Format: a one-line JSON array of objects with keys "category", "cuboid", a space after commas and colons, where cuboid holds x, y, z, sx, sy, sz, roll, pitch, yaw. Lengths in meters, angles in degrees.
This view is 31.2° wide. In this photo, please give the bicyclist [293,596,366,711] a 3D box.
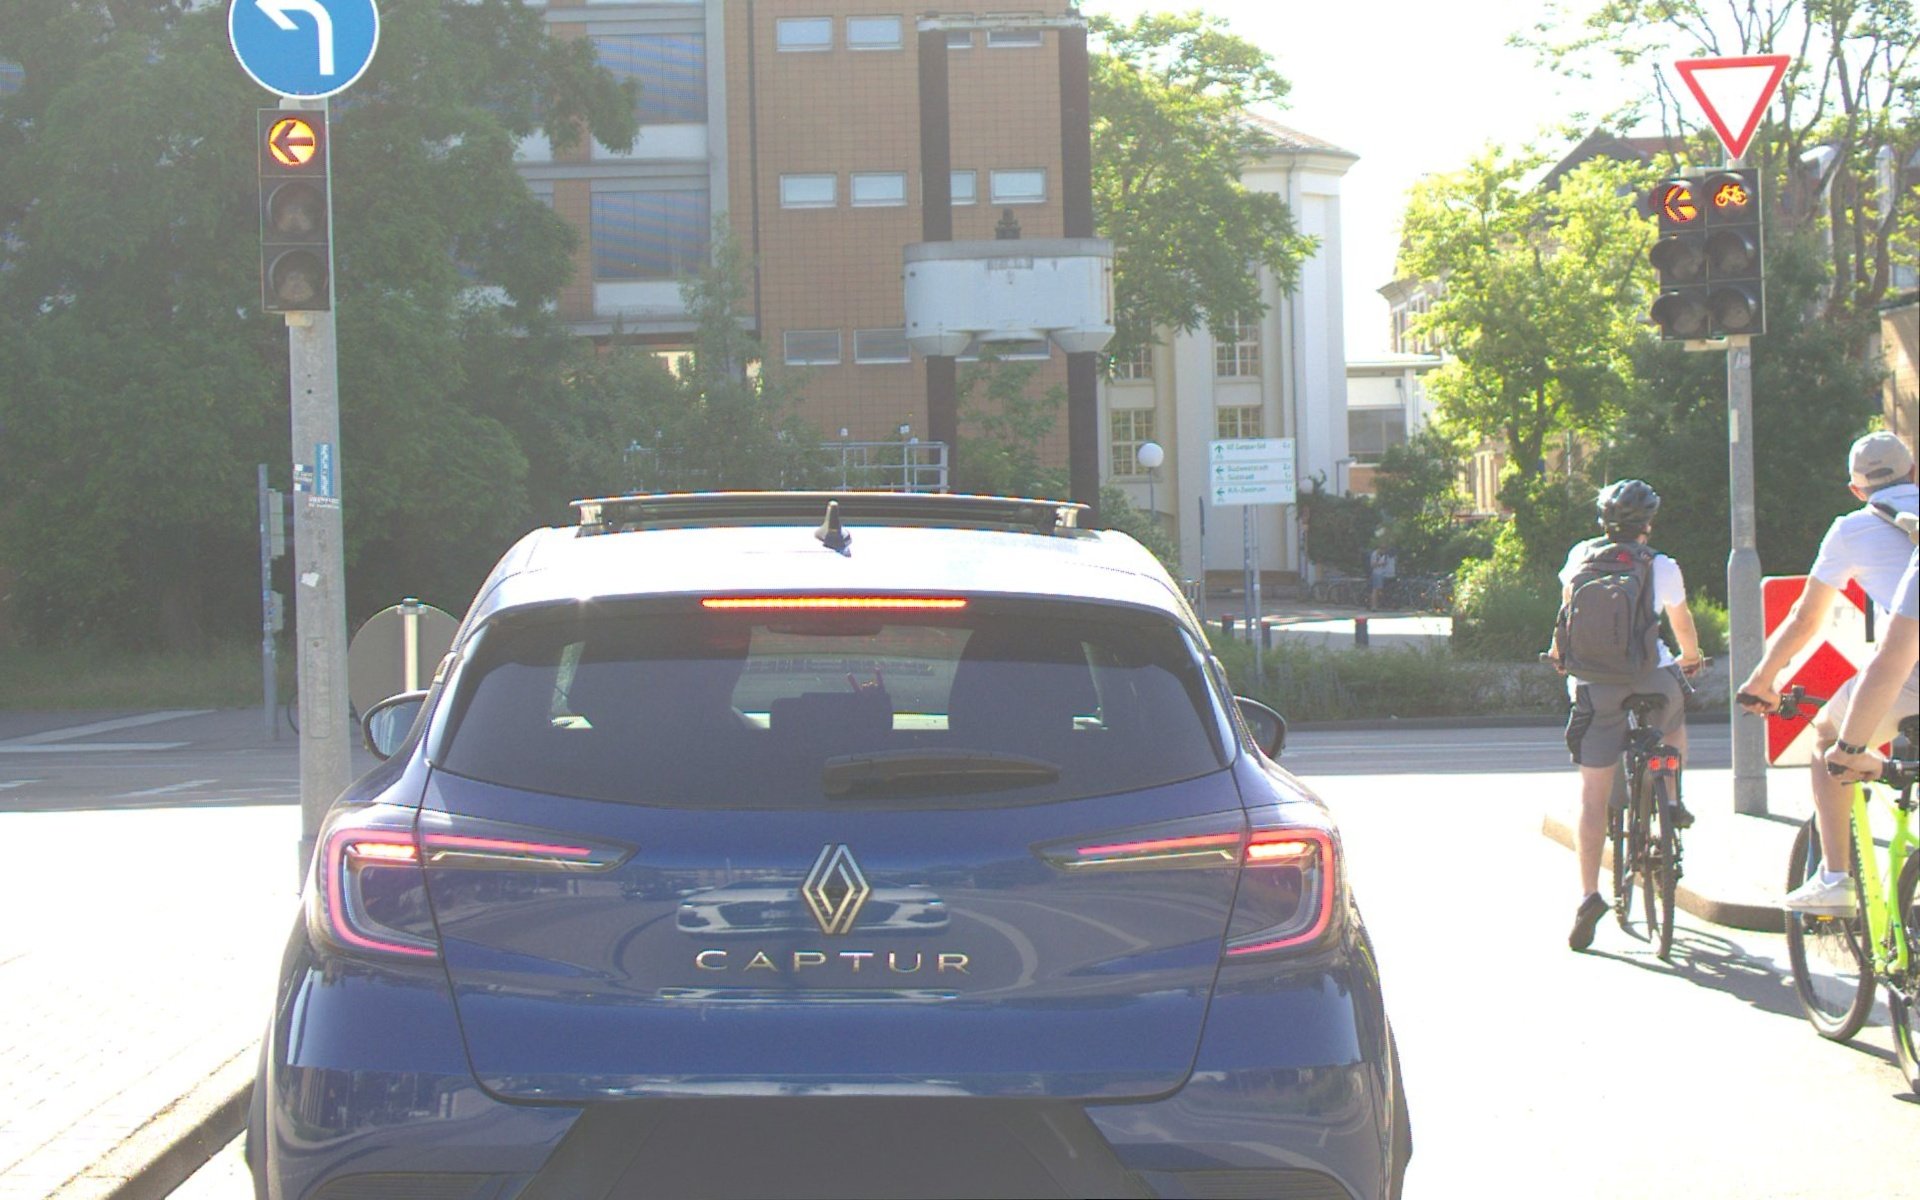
[{"category": "bicyclist", "cuboid": [-8.033, 0.673, 43.784, 0.737, 1.436, 0.598, -2, 1, -27]}]

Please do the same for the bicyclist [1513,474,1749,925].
[{"category": "bicyclist", "cuboid": [2.509, 0.354, 12.943, 0.726, 1.623, 0.969, 1, 0, 4]}]

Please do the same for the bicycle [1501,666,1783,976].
[{"category": "bicycle", "cuboid": [2.512, 0.780, 12.899, 0.739, 0.992, 2.173, 1, 1, 3]}]

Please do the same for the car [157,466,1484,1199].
[{"category": "car", "cuboid": [-0.266, 0.613, 6.694, 1.803, 1.626, 4.000, 0, 1, -2]}]

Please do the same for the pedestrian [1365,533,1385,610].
[{"category": "pedestrian", "cuboid": [10.980, -0.754, 91.041, 0.475, 2.007, 0.523, -1, 1, 6]}]

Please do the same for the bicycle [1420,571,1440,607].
[{"category": "bicycle", "cuboid": [12.916, -0.301, 94.414, 0.405, 0.969, 1.683, 1, 1, 4]}]

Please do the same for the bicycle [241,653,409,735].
[{"category": "bicycle", "cuboid": [-8.080, 1.187, 43.767, 2.005, 0.961, 0.598, -2, 1, -27]}]

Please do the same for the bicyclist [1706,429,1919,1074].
[{"category": "bicyclist", "cuboid": [2.624, 0.406, 9.808, 0.645, 1.733, 1.067, 1, 0, -6]}]

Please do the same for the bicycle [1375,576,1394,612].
[{"category": "bicycle", "cuboid": [11.613, -0.171, 94.035, 0.405, 0.969, 1.683, 1, 1, 4]}]

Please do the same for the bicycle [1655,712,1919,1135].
[{"category": "bicycle", "cuboid": [2.614, 0.865, 9.819, 0.659, 0.999, 1.970, 1, 1, -6]}]

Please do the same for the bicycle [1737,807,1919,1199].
[{"category": "bicycle", "cuboid": [2.230, 0.957, 7.254, 0.740, 0.893, 1.978, 1, 1, 1]}]

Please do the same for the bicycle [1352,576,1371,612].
[{"category": "bicycle", "cuboid": [10.990, -0.181, 94.078, 0.405, 0.969, 1.683, 1, 1, 4]}]

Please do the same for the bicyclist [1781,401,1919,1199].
[{"category": "bicyclist", "cuboid": [2.233, 0.442, 7.243, 0.751, 1.663, 1.016, 1, 0, 1]}]

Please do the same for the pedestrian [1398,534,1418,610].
[{"category": "pedestrian", "cuboid": [12.037, -0.753, 92.392, 0.475, 2.007, 0.468, -1, 1, 6]}]
